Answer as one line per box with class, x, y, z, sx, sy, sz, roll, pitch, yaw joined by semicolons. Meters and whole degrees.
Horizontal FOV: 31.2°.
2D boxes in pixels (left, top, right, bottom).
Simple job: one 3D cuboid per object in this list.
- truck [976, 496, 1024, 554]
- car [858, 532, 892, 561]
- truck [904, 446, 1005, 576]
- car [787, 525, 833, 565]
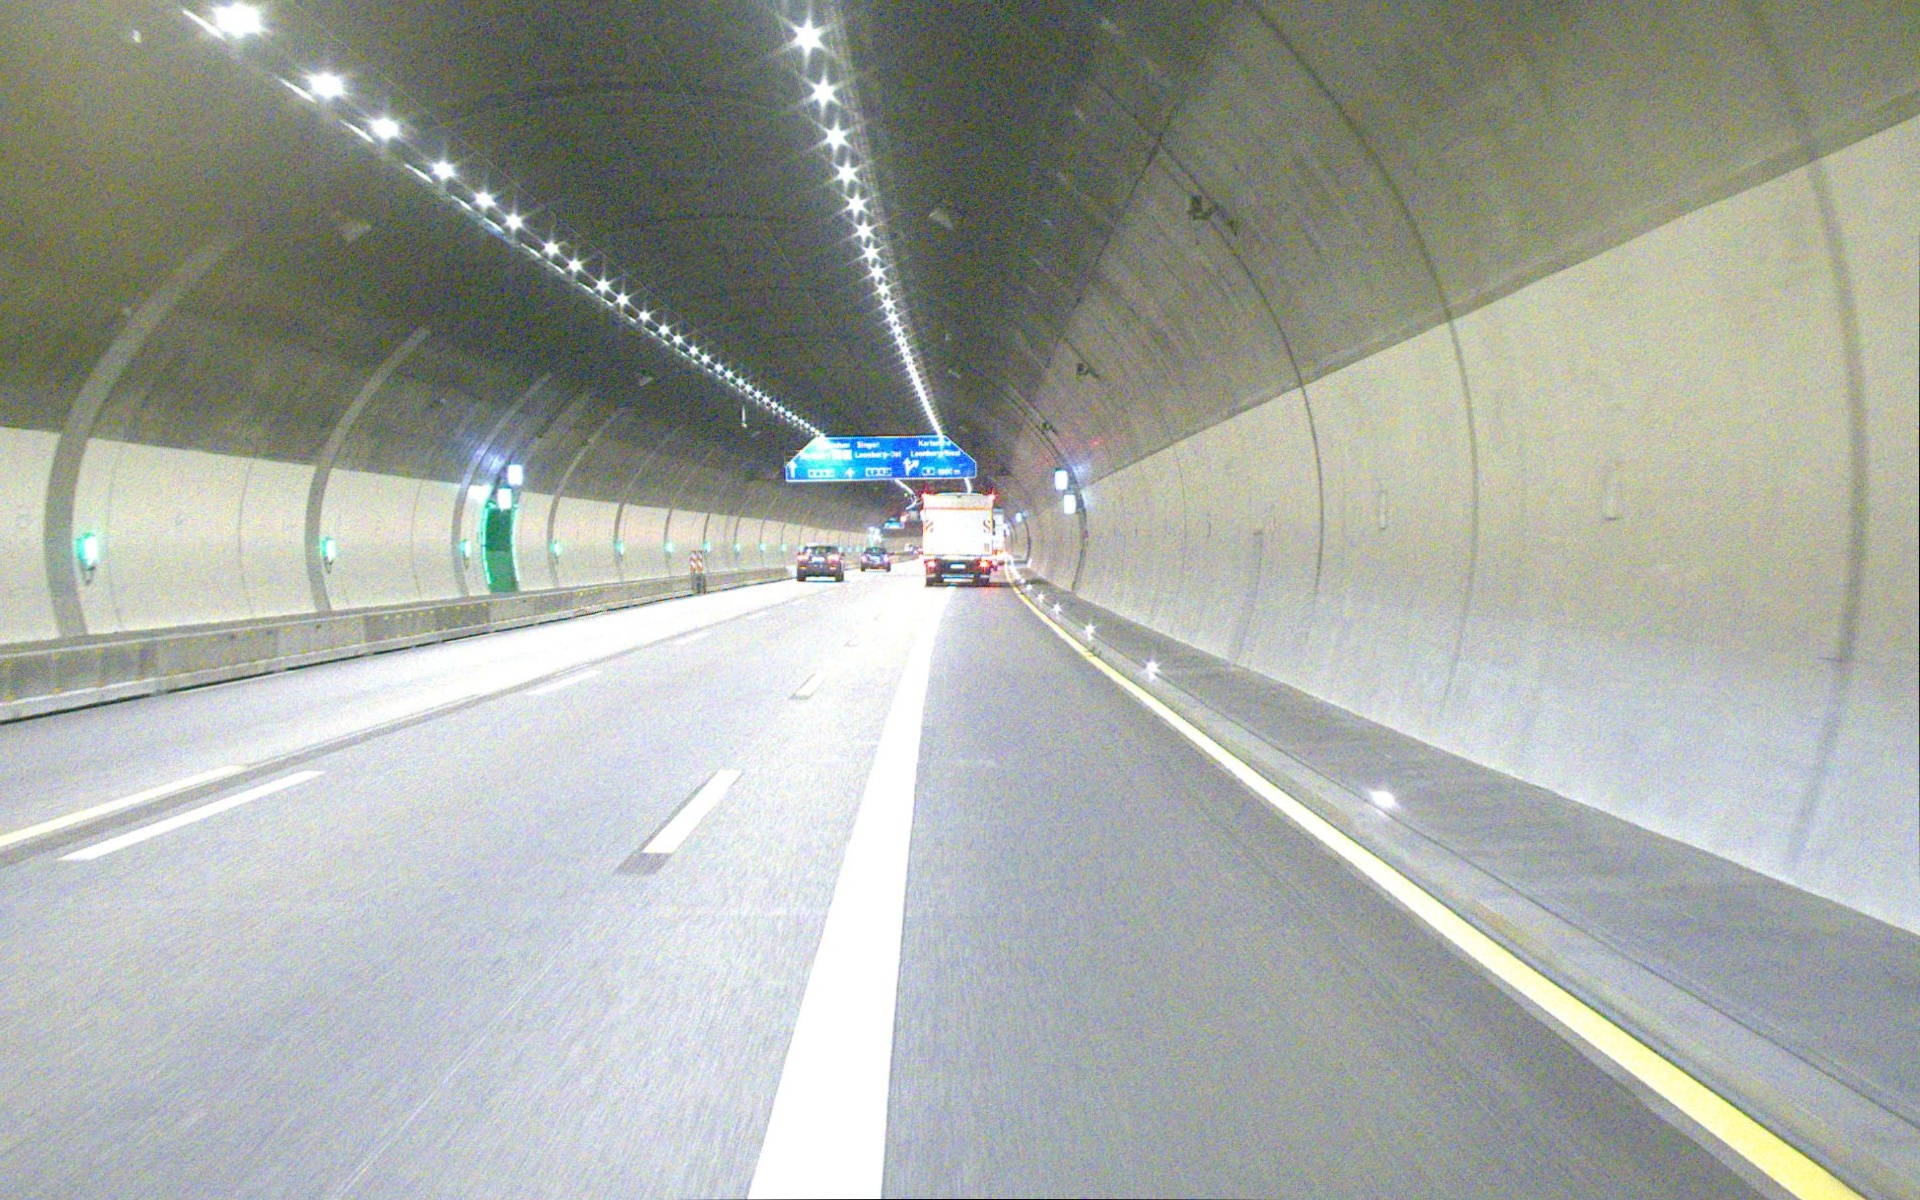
truck;2.840;-5.460;249.631;2.922;4.034;14.031;-2;1;-1
car;-4.878;-3.109;197.736;1.812;1.514;4.001;0;3;-3
truck;-0.338;-3.439;133.821;3.278;4.634;17.289;-2;1;-2
car;-6.184;-2.282;142.030;1.812;1.612;4.001;0;2;-2
